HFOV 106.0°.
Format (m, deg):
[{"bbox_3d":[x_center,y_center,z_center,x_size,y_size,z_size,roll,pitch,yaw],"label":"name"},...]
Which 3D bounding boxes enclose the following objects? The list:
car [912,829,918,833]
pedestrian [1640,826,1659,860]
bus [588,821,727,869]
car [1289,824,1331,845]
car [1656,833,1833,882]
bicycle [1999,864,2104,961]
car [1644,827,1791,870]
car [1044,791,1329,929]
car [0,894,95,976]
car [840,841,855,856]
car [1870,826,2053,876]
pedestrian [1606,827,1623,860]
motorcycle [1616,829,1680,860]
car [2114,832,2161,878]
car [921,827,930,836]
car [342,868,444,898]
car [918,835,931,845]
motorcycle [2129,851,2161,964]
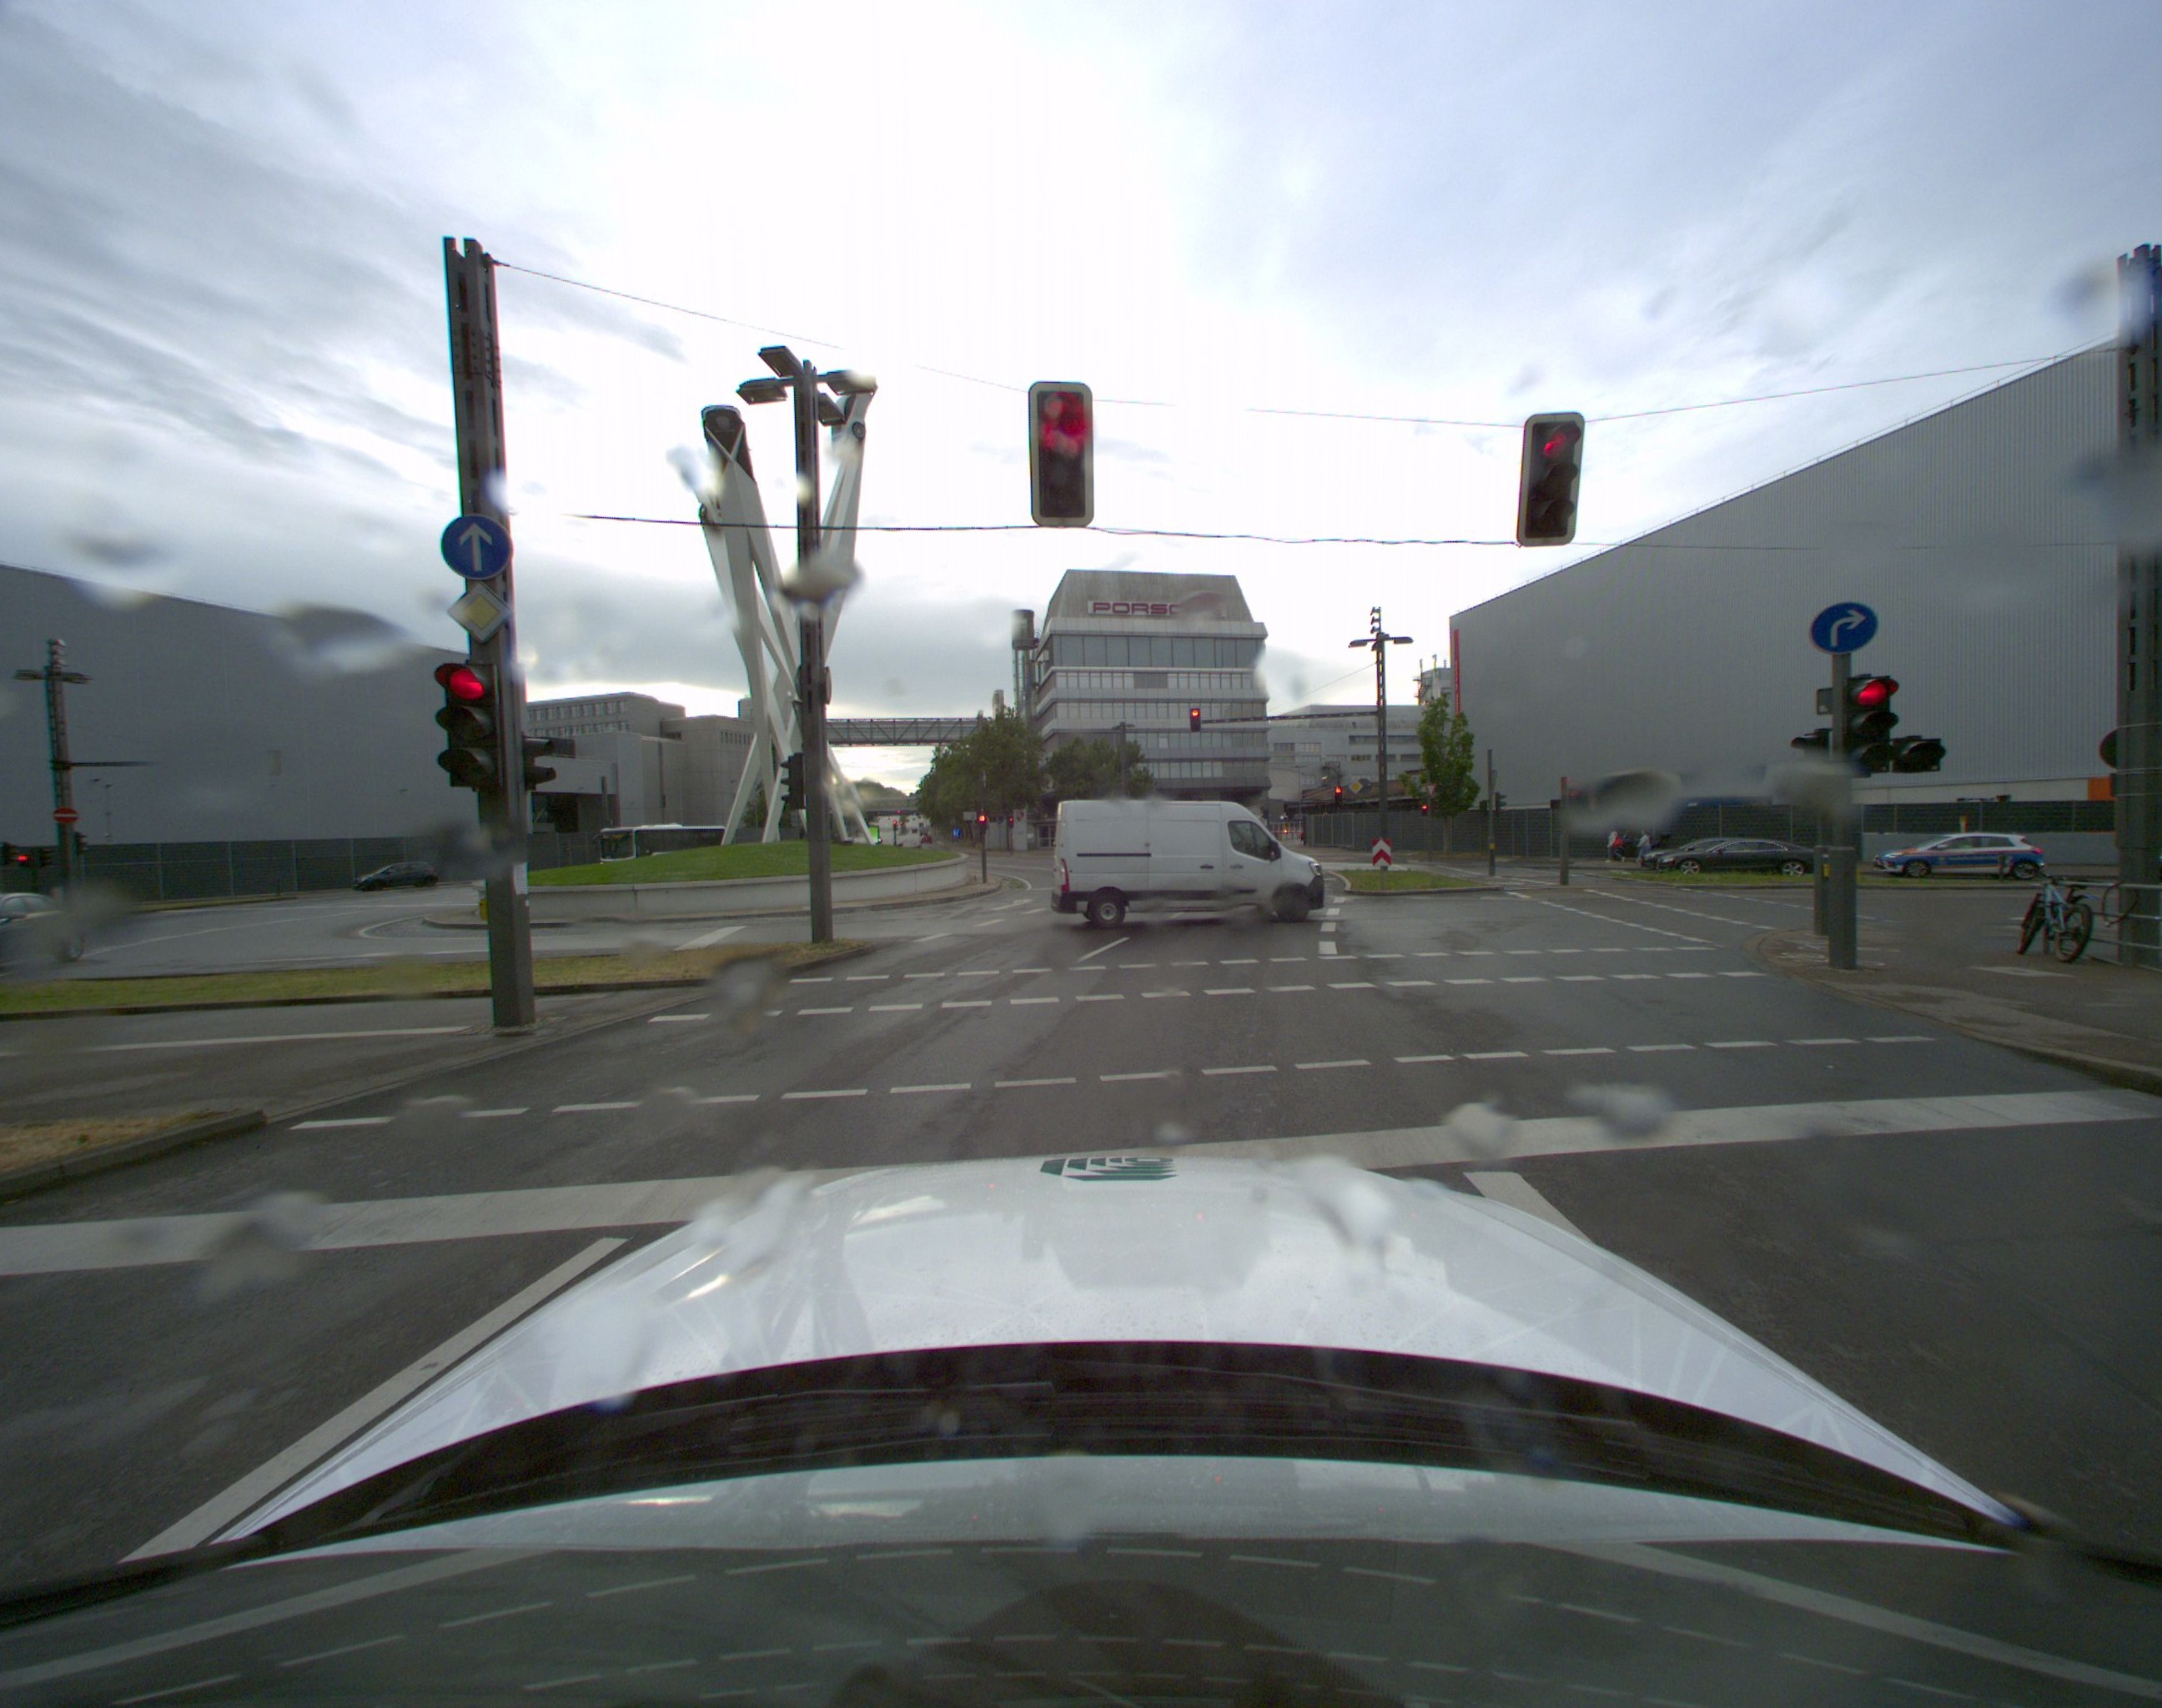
[{"bbox_3d":[-50.378,-6.969,247.432,1.558,1.288,3.399,-2,-1,-12],"label":"car"},{"bbox_3d":[24.990,-0.485,35.790,0.642,1.481,0.442,-1,0,35],"label":"pedestrian"},{"bbox_3d":[-31.646,-0.685,61.857,2.655,3.200,12.691,-1,0,6],"label":"bus"},{"bbox_3d":[23.671,-2.026,84.060,4.923,1.969,1.975,-2,1,-44],"label":"car"},{"bbox_3d":[22.606,0.075,28.003,4.525,1.539,1.769,0,2,31],"label":"car"},{"bbox_3d":[12.388,0.708,10.438,0.381,1.098,1.762,-2,0,35],"label":"bicycle"},{"bbox_3d":[24.067,-0.227,31.022,4.244,1.539,1.769,0,2,31],"label":"car"},{"bbox_3d":[2.033,0.083,16.593,5.402,2.447,1.996,-2,0,-7],"label":"car"},{"bbox_3d":[-20.263,1.497,14.837,1.650,1.338,4.033,-2,0,-31],"label":"car"},{"bbox_3d":[-33.253,-0.815,115.922,1.645,2.013,3.746,-1,1,-10],"label":"car"},{"bbox_3d":[30.209,-0.125,28.133,3.930,1.601,1.924,0,1,31],"label":"car"},{"bbox_3d":[24.155,-0.459,36.886,0.605,1.481,0.426,-1,0,37],"label":"pedestrian"},{"bbox_3d":[25.696,-0.429,36.944,2.330,1.344,0.657,-1,0,30],"label":"motorcycle"},{"bbox_3d":[35.356,0.020,25.114,3.949,1.392,1.769,0,2,31],"label":"car"},{"bbox_3d":[-40.334,-5.813,211.215,2.232,2.108,4.938,-2,-1,-9],"label":"car"},{"bbox_3d":[-37.909,1.556,44.939,1.756,1.486,4.026,-1,0,38],"label":"car"},{"bbox_3d":[-25.593,-2.334,133.481,1.776,1.464,3.712,-1,-1,-16],"label":"car"},{"bbox_3d":[15.143,0.679,10.373,2.213,1.452,0.759,-1,0,12],"label":"motorcycle"}]
